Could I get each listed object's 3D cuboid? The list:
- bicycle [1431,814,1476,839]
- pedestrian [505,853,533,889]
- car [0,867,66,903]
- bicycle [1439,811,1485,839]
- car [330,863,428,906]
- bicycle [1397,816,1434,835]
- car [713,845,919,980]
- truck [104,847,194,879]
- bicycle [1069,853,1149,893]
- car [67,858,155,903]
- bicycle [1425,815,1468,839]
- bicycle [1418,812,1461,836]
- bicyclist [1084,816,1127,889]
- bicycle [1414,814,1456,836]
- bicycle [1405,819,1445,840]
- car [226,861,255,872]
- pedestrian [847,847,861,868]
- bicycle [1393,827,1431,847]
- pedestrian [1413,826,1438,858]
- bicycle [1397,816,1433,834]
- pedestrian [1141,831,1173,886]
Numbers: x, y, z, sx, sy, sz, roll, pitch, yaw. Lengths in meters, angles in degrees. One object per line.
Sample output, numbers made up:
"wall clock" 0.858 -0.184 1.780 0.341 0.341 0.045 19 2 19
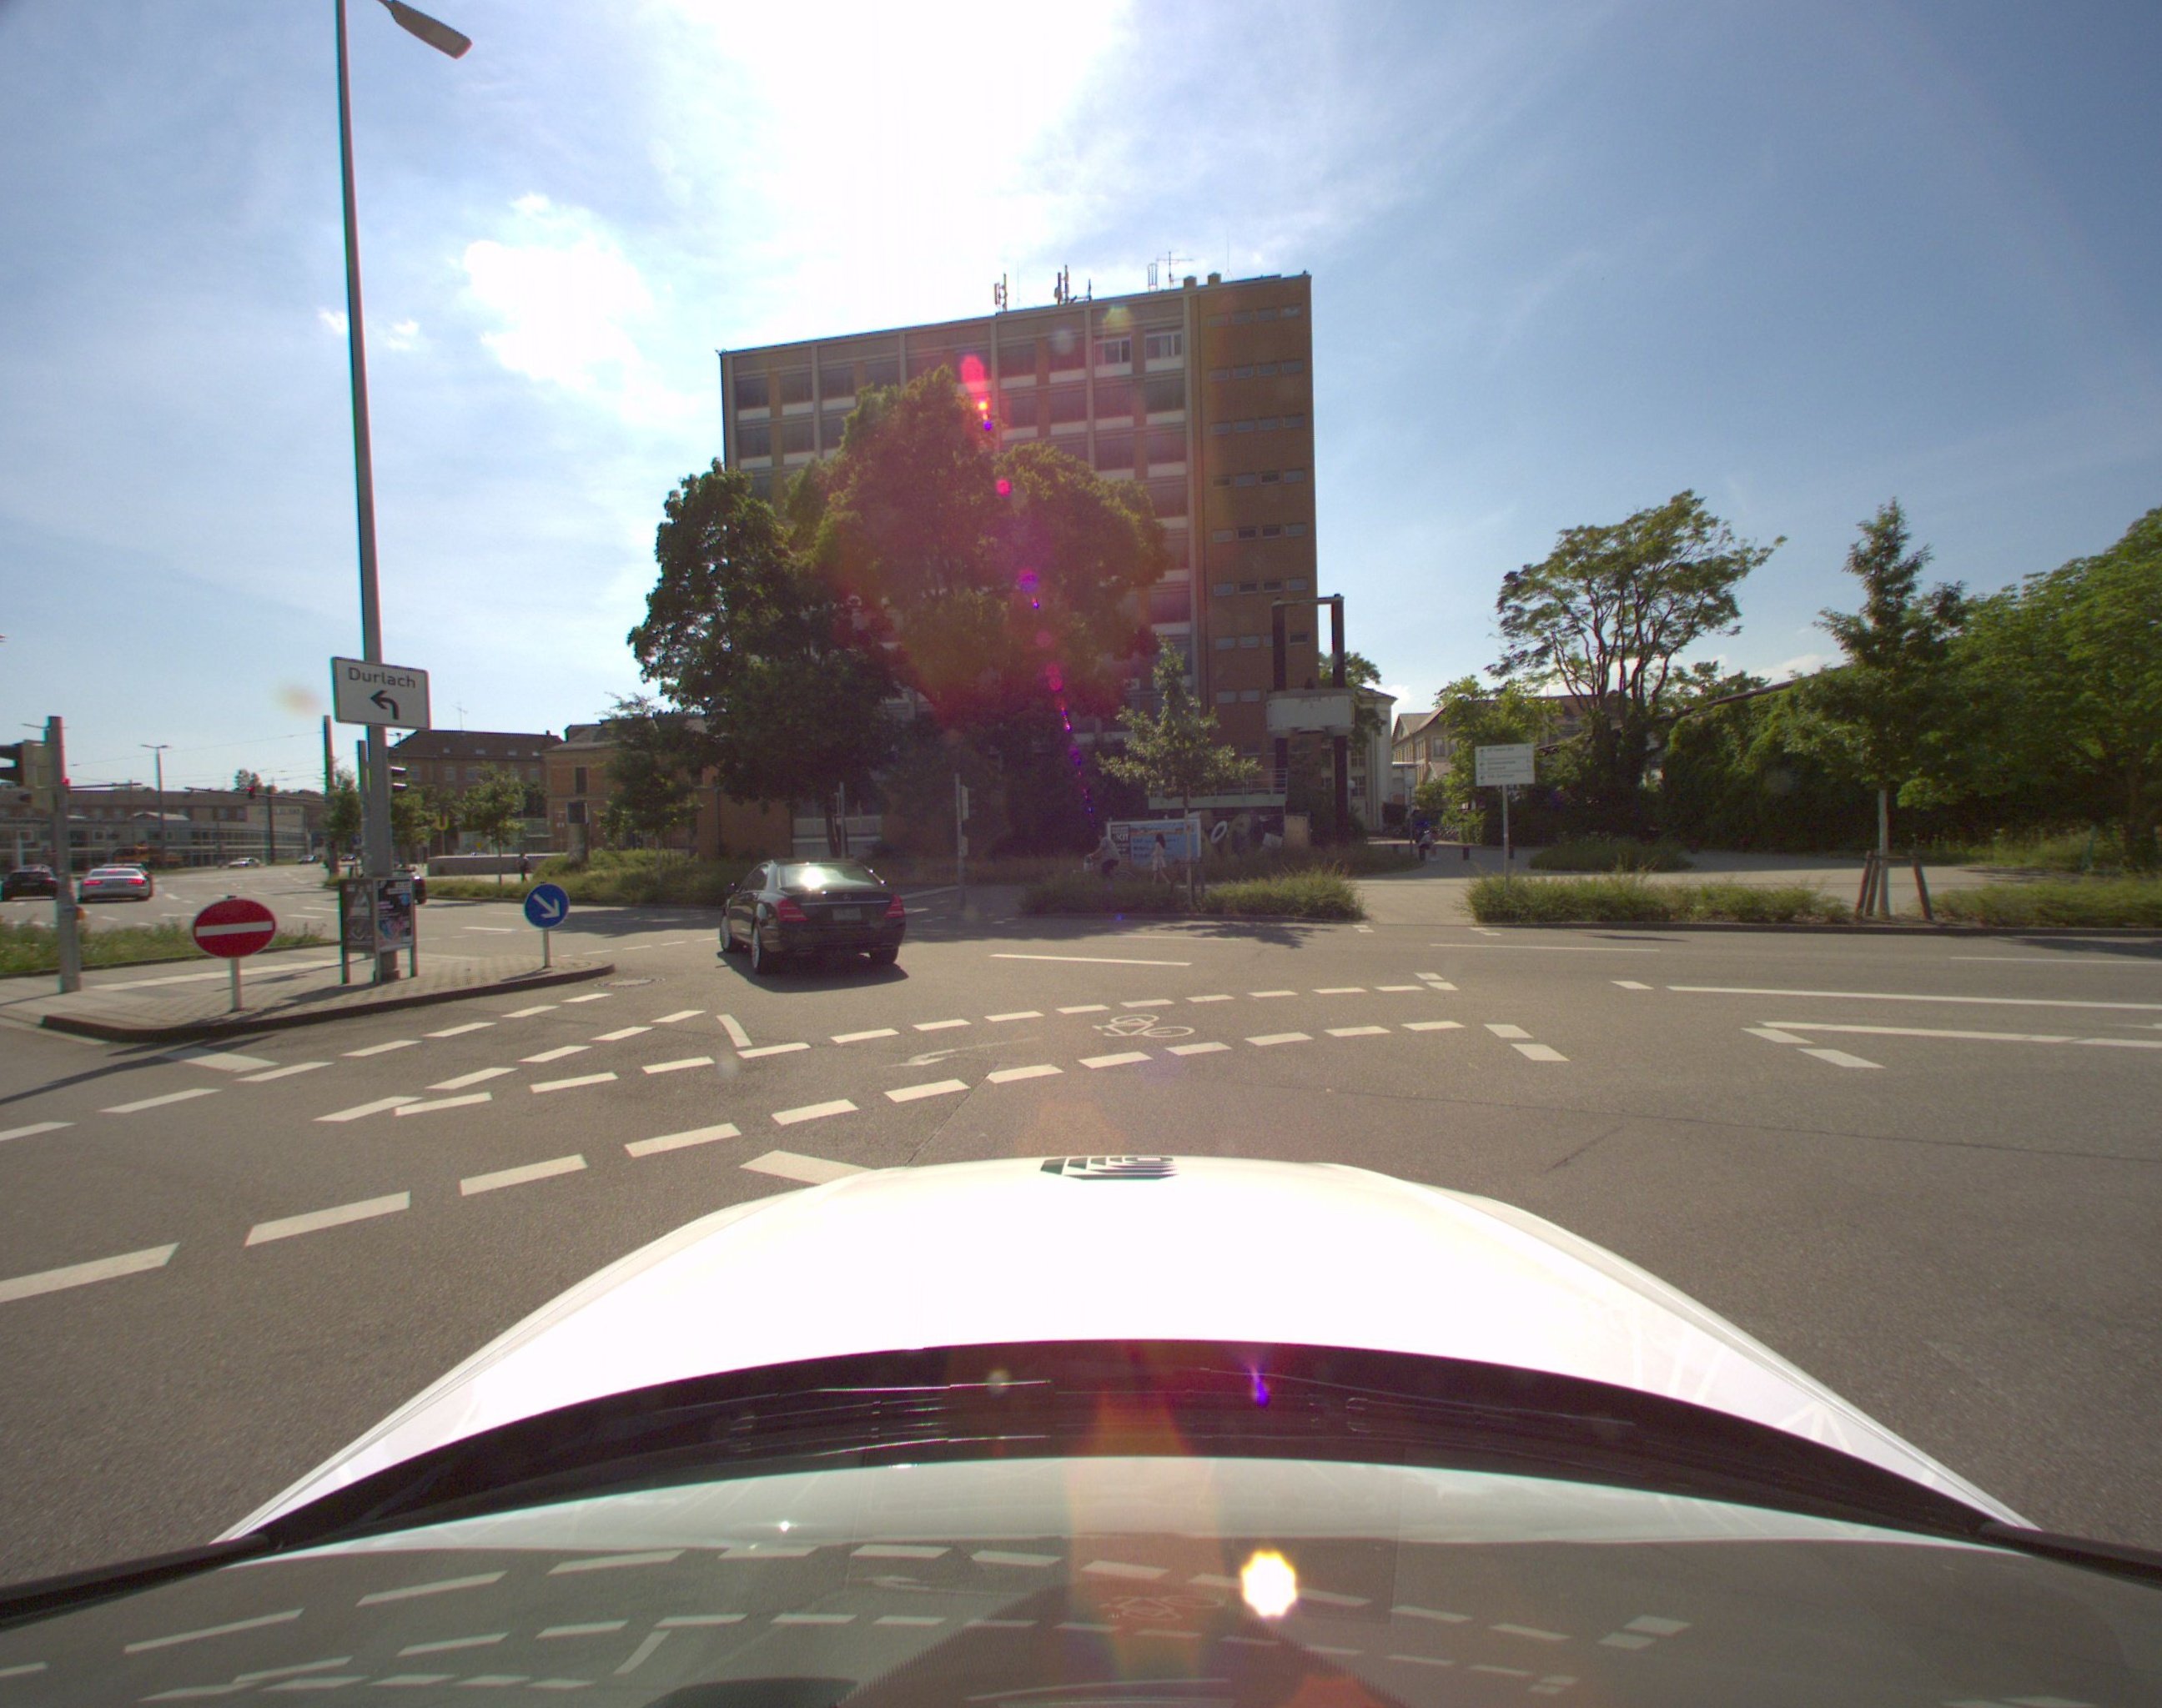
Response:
"bicycle" 27.059 -1.996 59.168 2.805 1.744 0.844 -2 2 10
"pedestrian" -28.046 0.840 40.630 0.789 1.725 0.879 -1 1 34
"car" -49.985 1.434 38.795 3.949 1.510 1.811 -1 1 42
"bicycle" 26.602 -2.002 56.884 2.805 1.836 0.844 -2 2 10
"car" -26.824 1.120 31.083 3.948 1.510 1.812 -1 0 33
"bicycle" 28.637 -2.436 69.853 2.805 1.499 0.844 -2 2 10
"car" -4.139 0.713 12.123 1.871 1.530 4.667 -3 1 -31
"truck" -117.173 1.047 102.577 3.066 3.730 7.899 -2 1 -11
"bicycle" 0.739 0.498 21.624 1.935 0.946 0.698 -3 1 20
"car" -42.668 1.117 35.810 3.948 1.815 2.013 -1 1 34
"bicycle" 27.043 -2.011 60.306 2.805 1.649 0.844 -2 2 10
"bicycle" 27.105 -2.264 61.631 2.805 1.659 0.844 -2 3 10
"bicyclist" 0.652 -0.054 21.616 0.849 1.878 0.692 -3 1 21
"bicycle" 27.274 -2.235 62.723 2.805 1.586 0.844 -2 2 10
"bicycle" 27.391 -1.962 64.865 2.805 1.507 0.844 -2 2 10
"car" -123.243 1.832 119.455 1.805 1.510 3.963 -2 1 -29
"pedestrian" -9.926 0.149 35.639 0.424 0.891 0.395 -1 1 20
"bicycle" 27.623 -1.413 68.009 2.805 1.558 0.844 -2 2 10
"pedestrian" 13.250 -0.464 31.338 0.787 1.213 0.761 1 2 18
"bicycle" 29.226 -2.521 71.248 2.805 1.480 0.844 -2 2 10
"pedestrian" 2.245 0.118 24.071 0.805 1.579 0.695 -1 1 13
